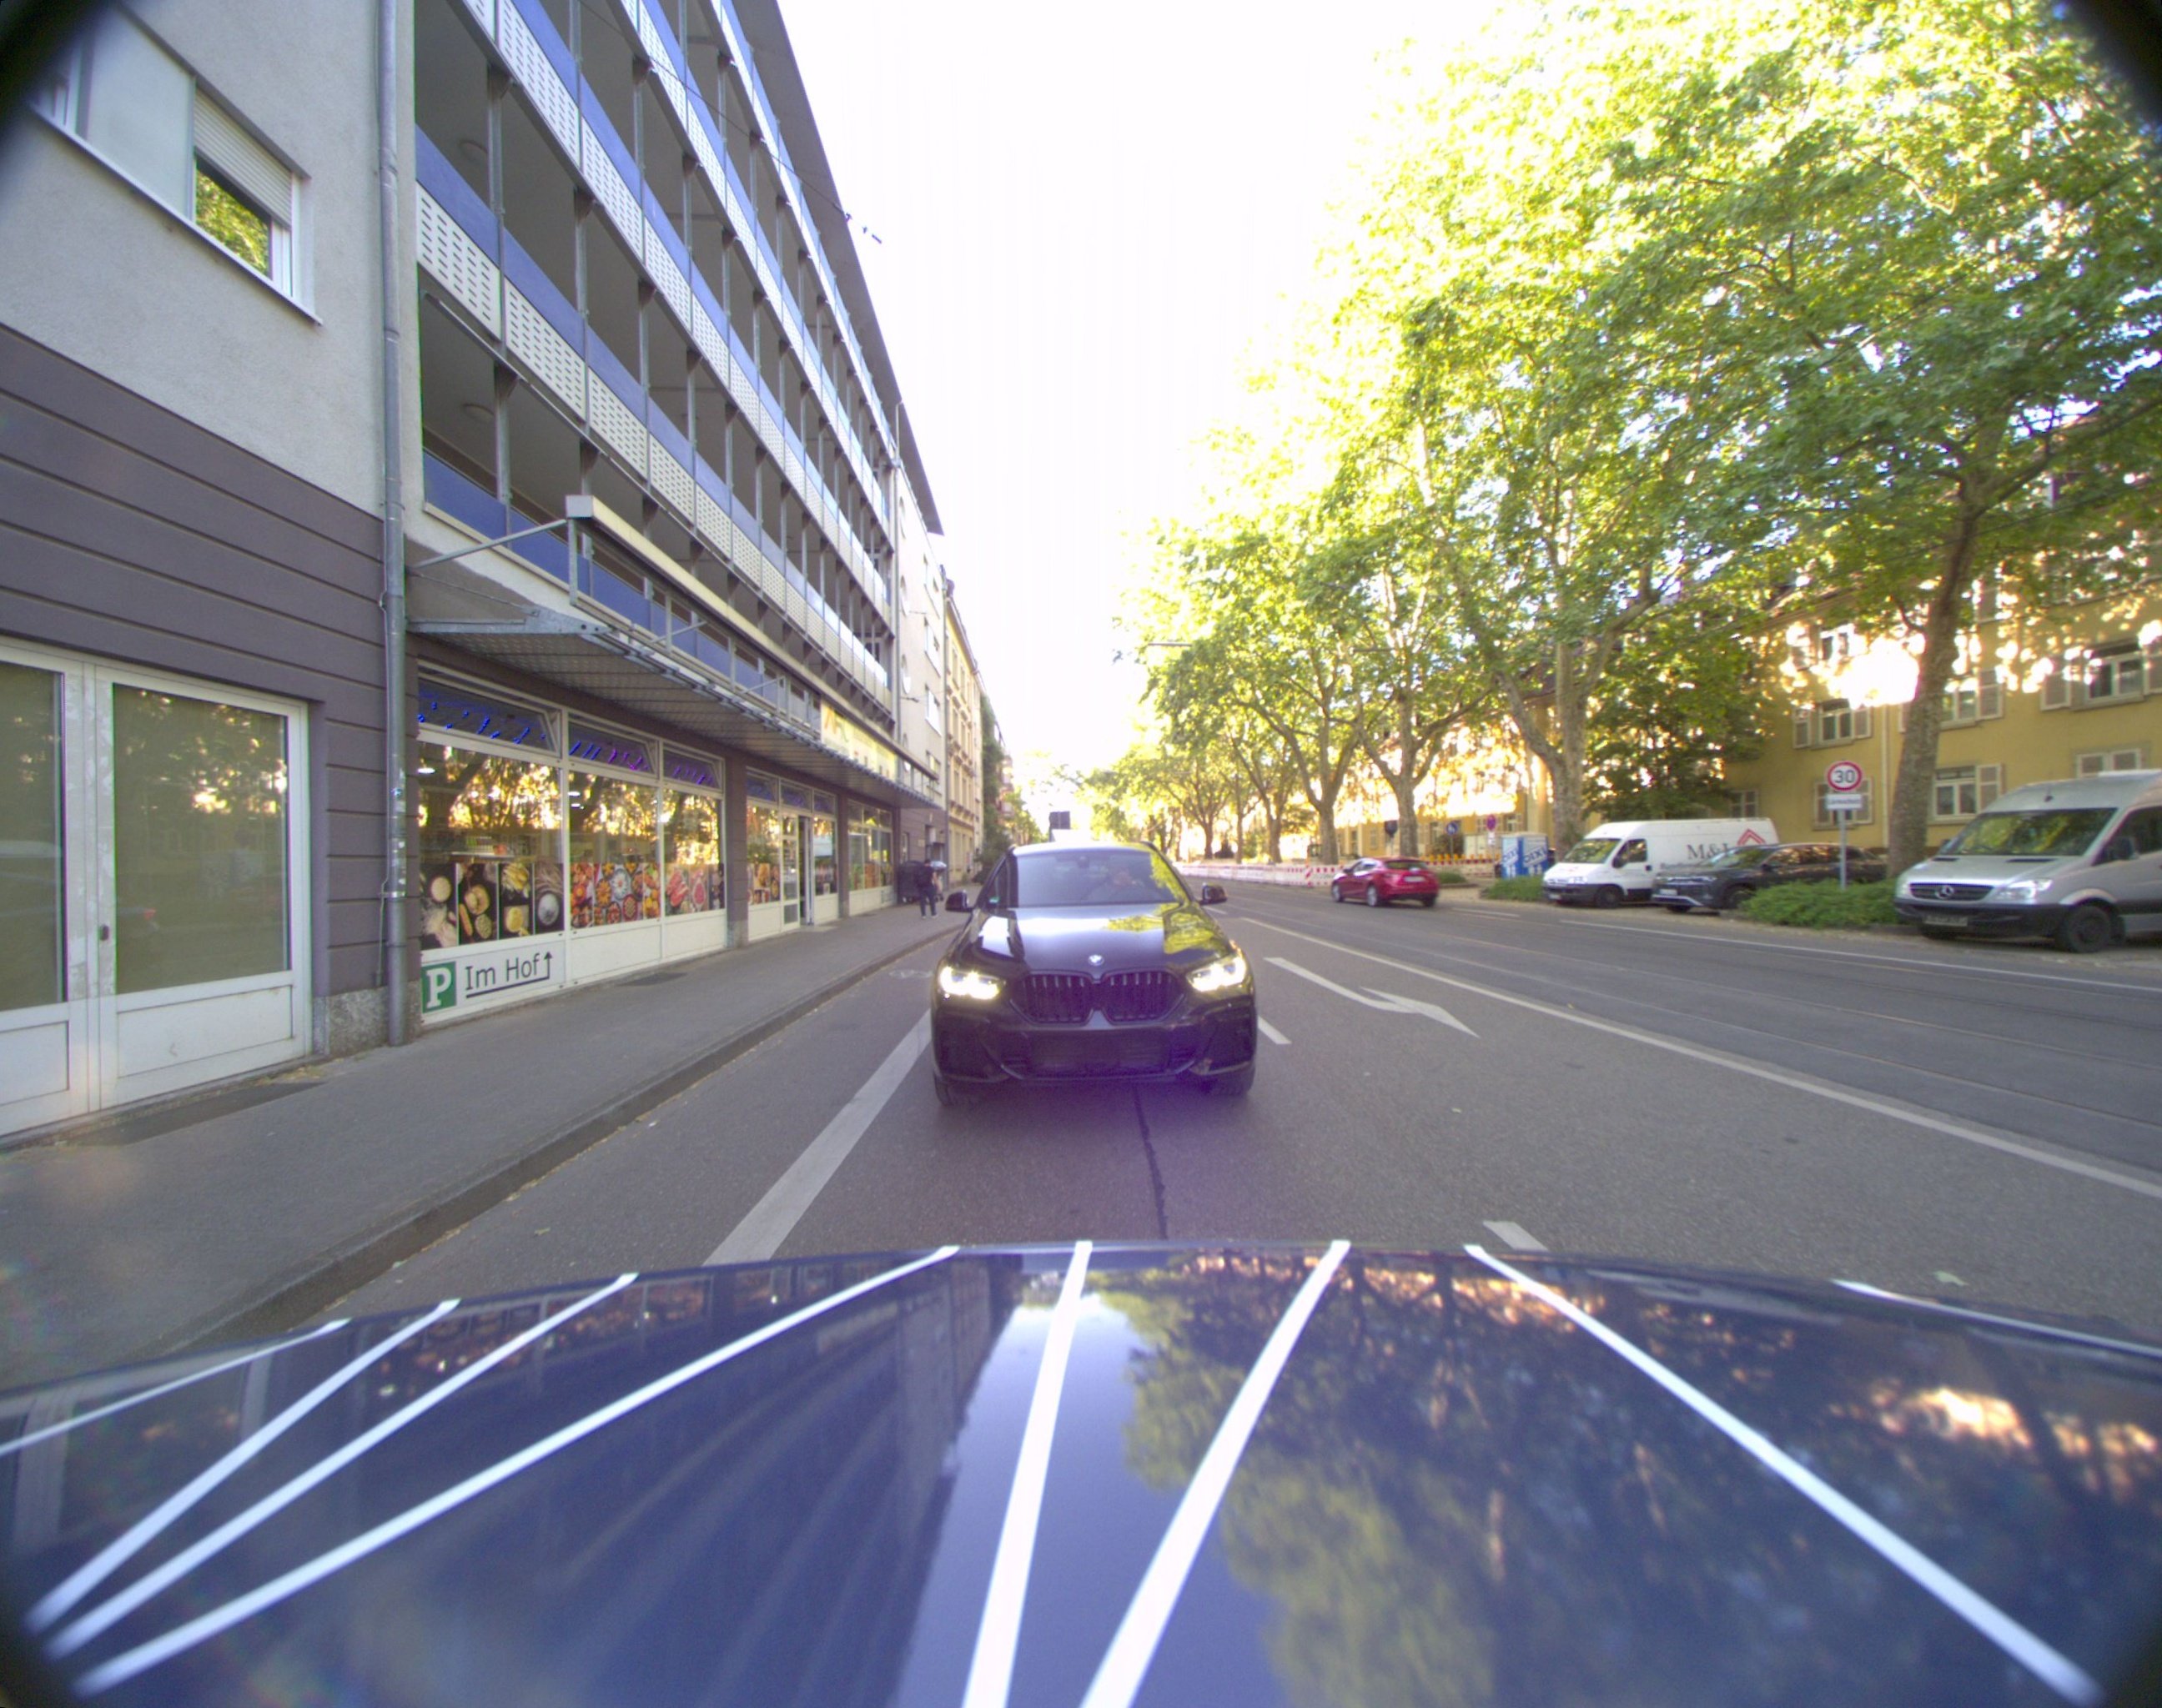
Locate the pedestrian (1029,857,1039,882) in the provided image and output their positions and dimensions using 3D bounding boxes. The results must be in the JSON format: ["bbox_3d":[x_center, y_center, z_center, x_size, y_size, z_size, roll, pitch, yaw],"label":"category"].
[{"bbox_3d":[-3.558,1.165,57.466,0.600,1.875,0.581,-2,1,-1],"label":"pedestrian"}]

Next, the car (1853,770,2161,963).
[{"bbox_3d":[15.981,0.128,11.869,5.666,2.666,2.223,-2,0,-2],"label":"car"}]

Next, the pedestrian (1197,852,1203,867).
[{"bbox_3d":[15.820,0.707,101.157,0.732,1.875,0.665,-2,1,8],"label":"pedestrian"}]

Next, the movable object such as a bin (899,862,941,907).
[{"bbox_3d":[-5.210,0.974,24.657,1.158,1.418,0.939,-1,0,1],"label":"movable object such as a bin"}]

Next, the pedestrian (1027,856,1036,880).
[{"bbox_3d":[-3.973,1.146,60.622,0.600,1.875,0.581,-2,1,-1],"label":"pedestrian"}]

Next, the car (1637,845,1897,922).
[{"bbox_3d":[16.074,0.657,17.951,4.627,1.642,1.774,-1,0,-2],"label":"car"}]

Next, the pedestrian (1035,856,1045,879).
[{"bbox_3d":[-3.379,1.078,62.091,0.733,1.875,0.664,-2,1,-1],"label":"pedestrian"}]

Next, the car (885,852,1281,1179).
[{"bbox_3d":[0.039,0.834,6.028,1.998,1.643,4.295,-1,0,1],"label":"car"}]

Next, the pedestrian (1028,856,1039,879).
[{"bbox_3d":[-3.921,1.120,62.754,0.733,1.875,0.664,-2,1,-1],"label":"pedestrian"}]

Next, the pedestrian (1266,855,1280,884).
[{"bbox_3d":[11.755,0.943,46.569,0.652,1.735,0.583,-2,1,-4],"label":"pedestrian"}]

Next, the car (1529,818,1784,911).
[{"bbox_3d":[15.841,0.290,21.158,5.404,2.362,2.223,-1,0,0],"label":"car"}]

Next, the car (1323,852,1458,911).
[{"bbox_3d":[9.121,0.763,22.887,2.022,1.556,4.490,-1,0,-3],"label":"car"}]

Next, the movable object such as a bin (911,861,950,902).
[{"bbox_3d":[-5.287,0.953,26.695,1.158,1.418,0.939,-1,0,1],"label":"movable object such as a bin"}]

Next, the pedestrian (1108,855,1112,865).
[{"bbox_3d":[6.054,1.266,157.476,0.733,1.875,0.741,-2,1,-1],"label":"pedestrian"}]

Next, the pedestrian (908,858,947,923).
[{"bbox_3d":[-3.820,0.889,19.007,0.864,1.582,0.622,-1,0,-5],"label":"pedestrian"}]

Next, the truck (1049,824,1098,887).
[{"bbox_3d":[-0.323,0.118,41.858,2.394,3.170,6.587,-1,0,1],"label":"truck"}]
